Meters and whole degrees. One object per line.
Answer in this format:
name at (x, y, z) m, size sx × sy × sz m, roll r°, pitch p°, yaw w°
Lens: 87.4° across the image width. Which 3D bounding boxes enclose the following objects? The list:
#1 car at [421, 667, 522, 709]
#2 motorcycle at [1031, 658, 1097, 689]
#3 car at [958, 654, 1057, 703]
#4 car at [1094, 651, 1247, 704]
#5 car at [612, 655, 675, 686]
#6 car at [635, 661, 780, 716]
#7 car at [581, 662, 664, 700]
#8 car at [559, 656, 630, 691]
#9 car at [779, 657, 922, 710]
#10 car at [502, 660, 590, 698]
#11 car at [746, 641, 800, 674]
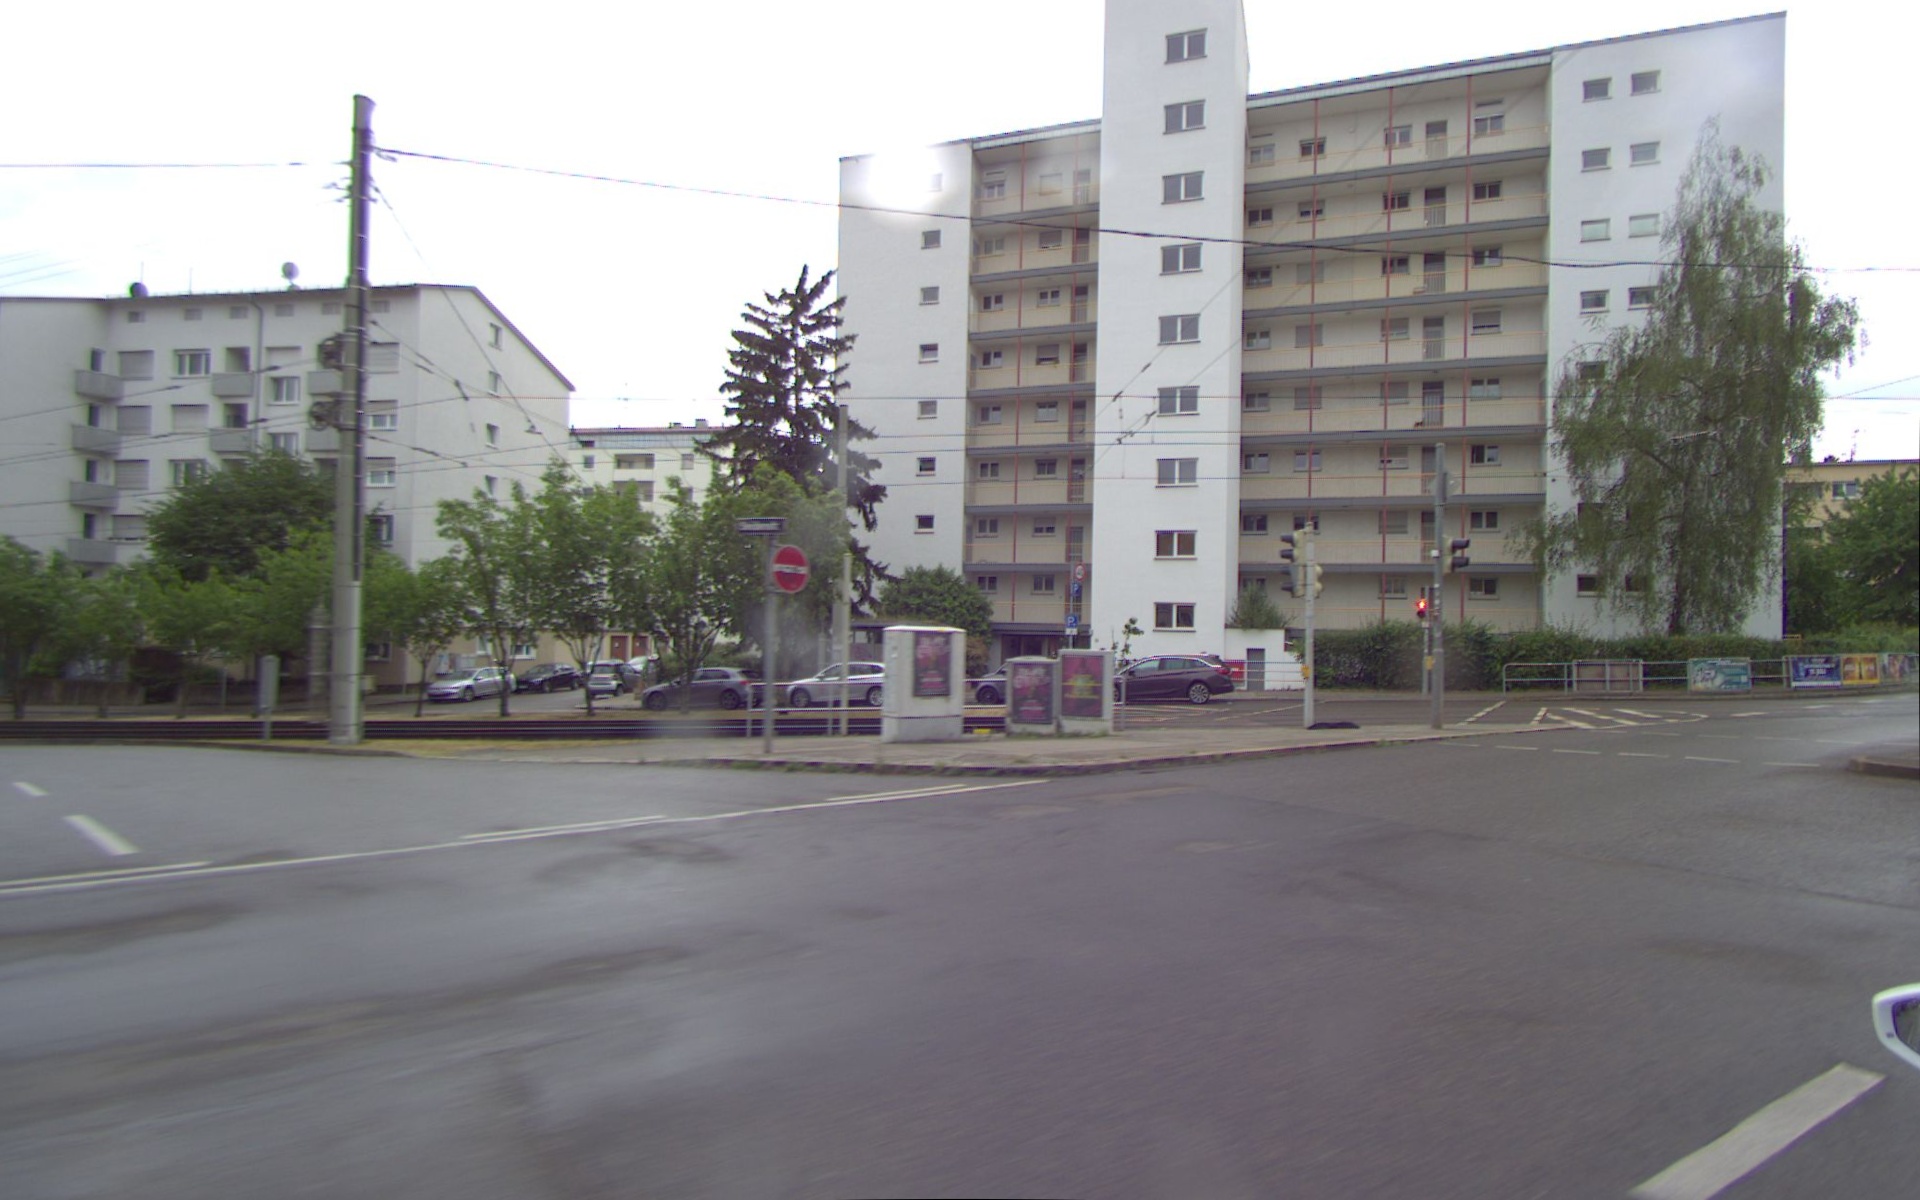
car at (-22.332, 3.978, 46.106) m, size 1.959 × 1.583 × 4.195 m, roll 2°, pitch -1°, yaw 11°
motorcycle at (3.717, 2.621, 35.809) m, size 2.191 × 0.952 × 0.900 m, roll -3°, pitch -1°, yaw 13°
car at (1.546, 2.476, 31.841) m, size 2.834 × 1.411 × 1.812 m, roll -2°, pitch -2°, yaw 12°
car at (6.380, 2.361, 30.568) m, size 4.401 × 1.480 × 1.876 m, roll -2°, pitch -4°, yaw 13°
car at (-19.525, 4.329, 62.174) m, size 1.959 × 1.661 × 4.003 m, roll 2°, pitch -1°, yaw 11°
car at (-8.512, 2.991, 34.022) m, size 4.225 × 1.527 × 2.001 m, roll -4°, pitch -2°, yaw 13°
car at (-15.351, 3.668, 45.890) m, size 1.788 × 1.462 × 4.003 m, roll 2°, pitch -1°, yaw 11°
car at (-20.664, 4.138, 56.926) m, size 1.959 × 1.750 × 4.003 m, roll 2°, pitch -1°, yaw 11°
car at (-3.567, 2.730, 33.100) m, size 4.225 × 1.528 × 2.001 m, roll -2°, pitch -1°, yaw 13°
car at (-21.302, 4.041, 51.909) m, size 1.959 × 1.684 × 4.588 m, roll 2°, pitch -1°, yaw 11°
car at (-11.857, 3.611, 63.887) m, size 1.959 × 1.924 × 4.003 m, roll 2°, pitch -1°, yaw 11°
